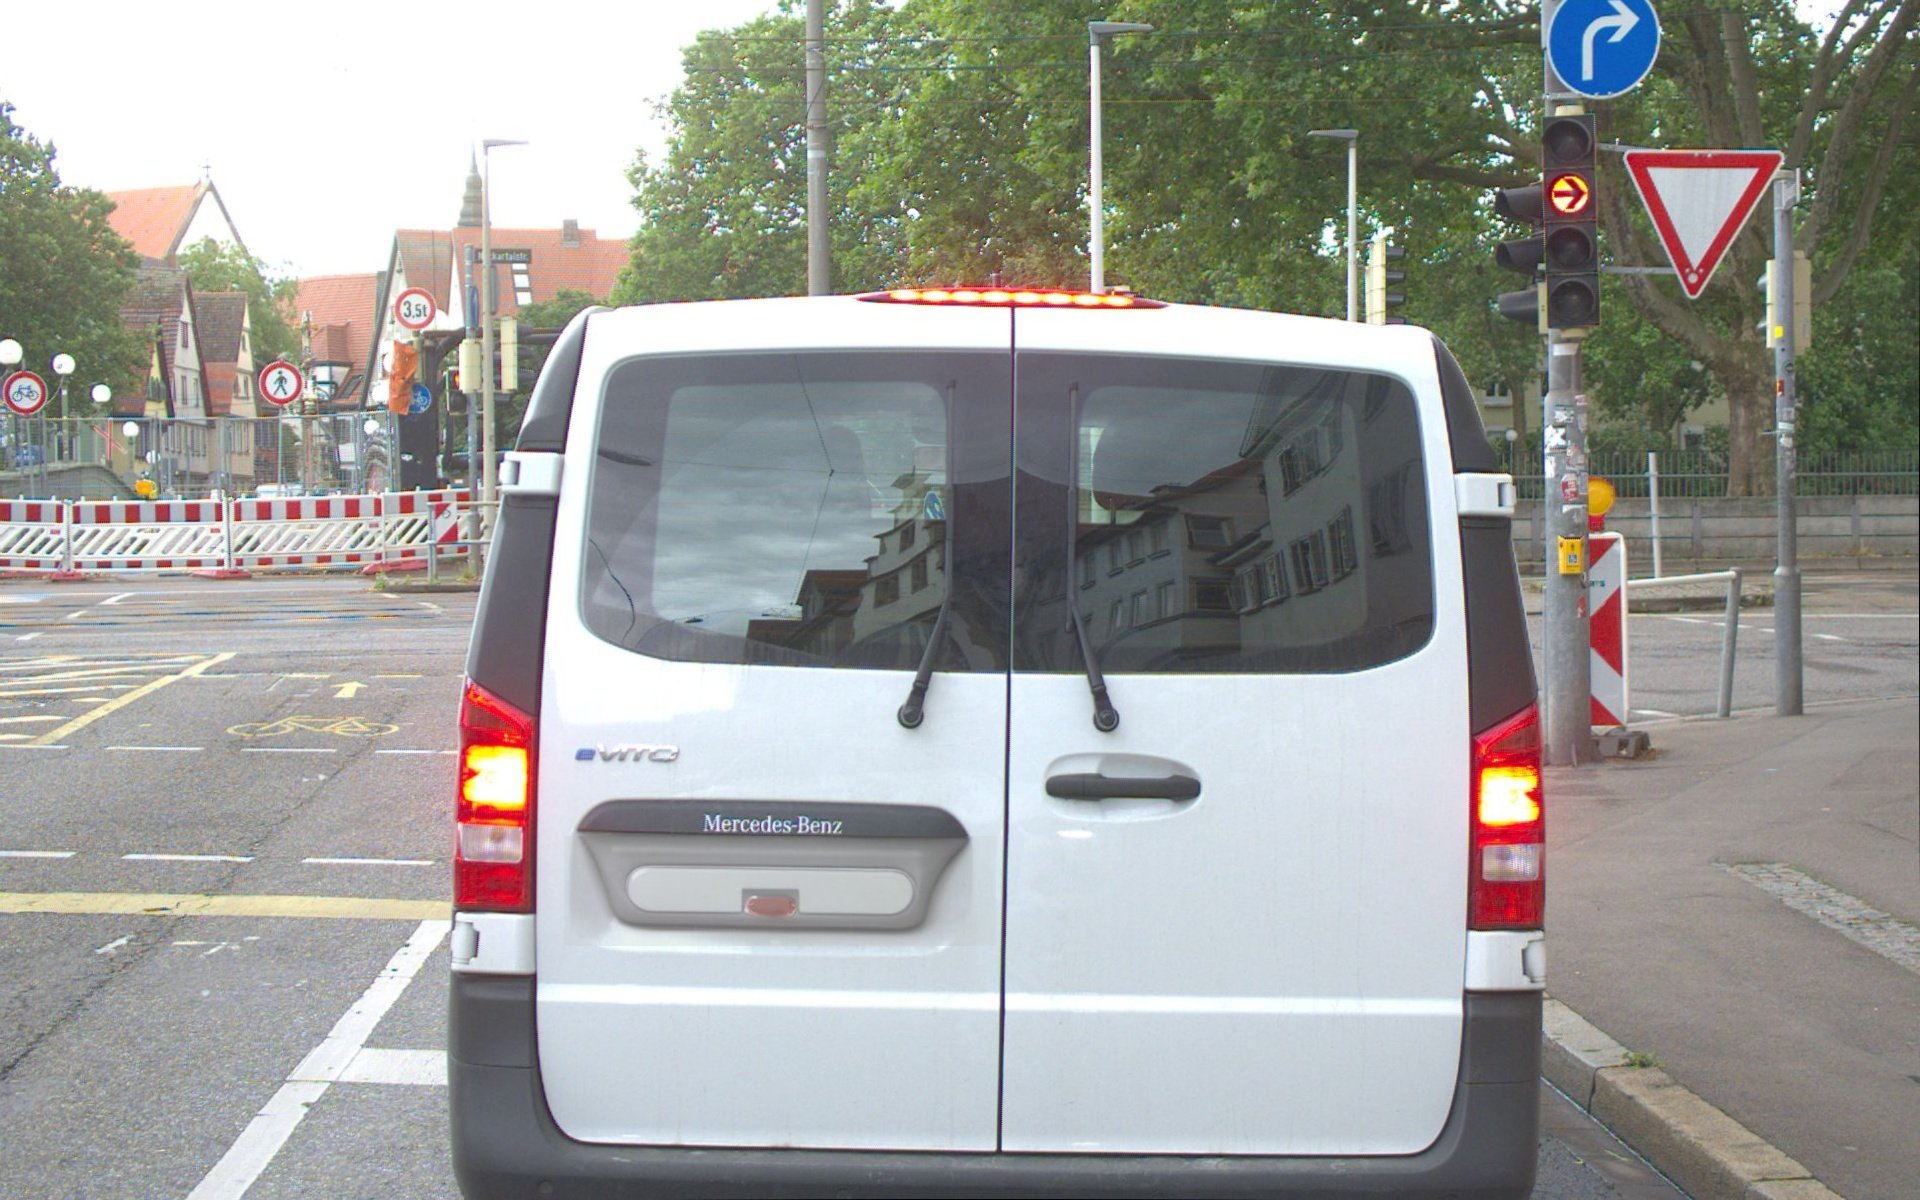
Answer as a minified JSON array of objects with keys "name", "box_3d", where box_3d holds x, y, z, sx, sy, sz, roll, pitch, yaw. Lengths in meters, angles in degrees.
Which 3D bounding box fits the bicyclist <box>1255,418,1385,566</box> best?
[{"name":"bicyclist","box_3d":[5.309,-1.589,50.719,1.563,2.148,1.248,-1,1,-14]}]

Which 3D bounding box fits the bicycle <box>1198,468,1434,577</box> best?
[{"name":"bicycle","box_3d":[5.245,-1.142,50.705,3.144,1.564,1.471,-1,1,-14]}]

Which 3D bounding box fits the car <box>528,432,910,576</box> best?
[{"name":"car","box_3d":[-3.038,-1.197,42.952,4.518,1.628,2.001,-2,1,-10]}]

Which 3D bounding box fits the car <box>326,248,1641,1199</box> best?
[{"name":"car","box_3d":[-0.041,0.331,7.379,1.993,1.916,4.250,1,3,-2]}]
